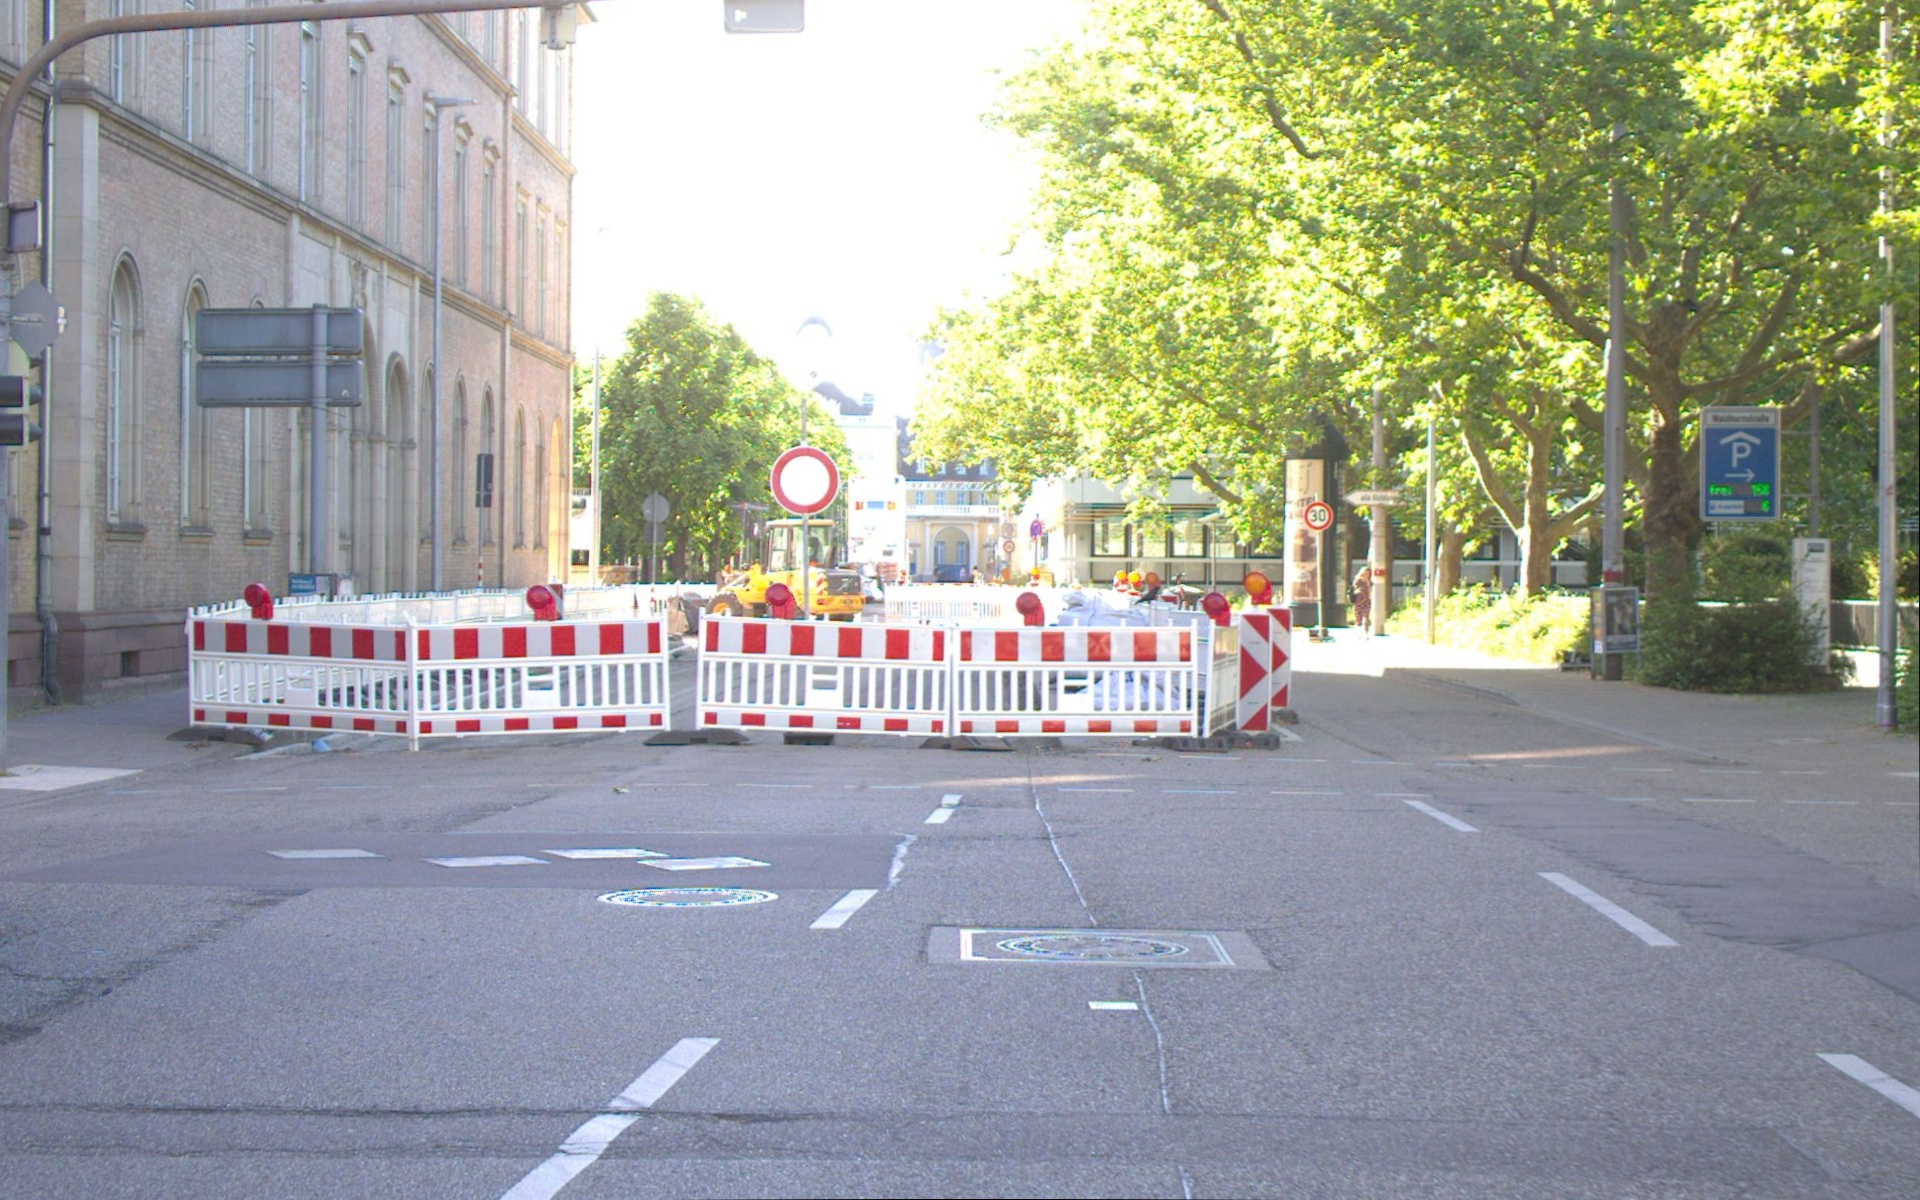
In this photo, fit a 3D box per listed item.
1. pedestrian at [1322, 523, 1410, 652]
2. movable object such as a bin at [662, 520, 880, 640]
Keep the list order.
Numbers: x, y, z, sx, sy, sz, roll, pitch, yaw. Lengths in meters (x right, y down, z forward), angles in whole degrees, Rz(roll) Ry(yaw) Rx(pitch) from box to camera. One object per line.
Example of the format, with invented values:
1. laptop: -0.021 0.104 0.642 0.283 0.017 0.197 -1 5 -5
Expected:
1. pedestrian: 8.437 -0.266 71.409 1.422 2.658 1.146 1 0 33
2. movable object such as a bin: -4.511 -0.496 81.751 4.838 2.767 2.467 1 0 43
